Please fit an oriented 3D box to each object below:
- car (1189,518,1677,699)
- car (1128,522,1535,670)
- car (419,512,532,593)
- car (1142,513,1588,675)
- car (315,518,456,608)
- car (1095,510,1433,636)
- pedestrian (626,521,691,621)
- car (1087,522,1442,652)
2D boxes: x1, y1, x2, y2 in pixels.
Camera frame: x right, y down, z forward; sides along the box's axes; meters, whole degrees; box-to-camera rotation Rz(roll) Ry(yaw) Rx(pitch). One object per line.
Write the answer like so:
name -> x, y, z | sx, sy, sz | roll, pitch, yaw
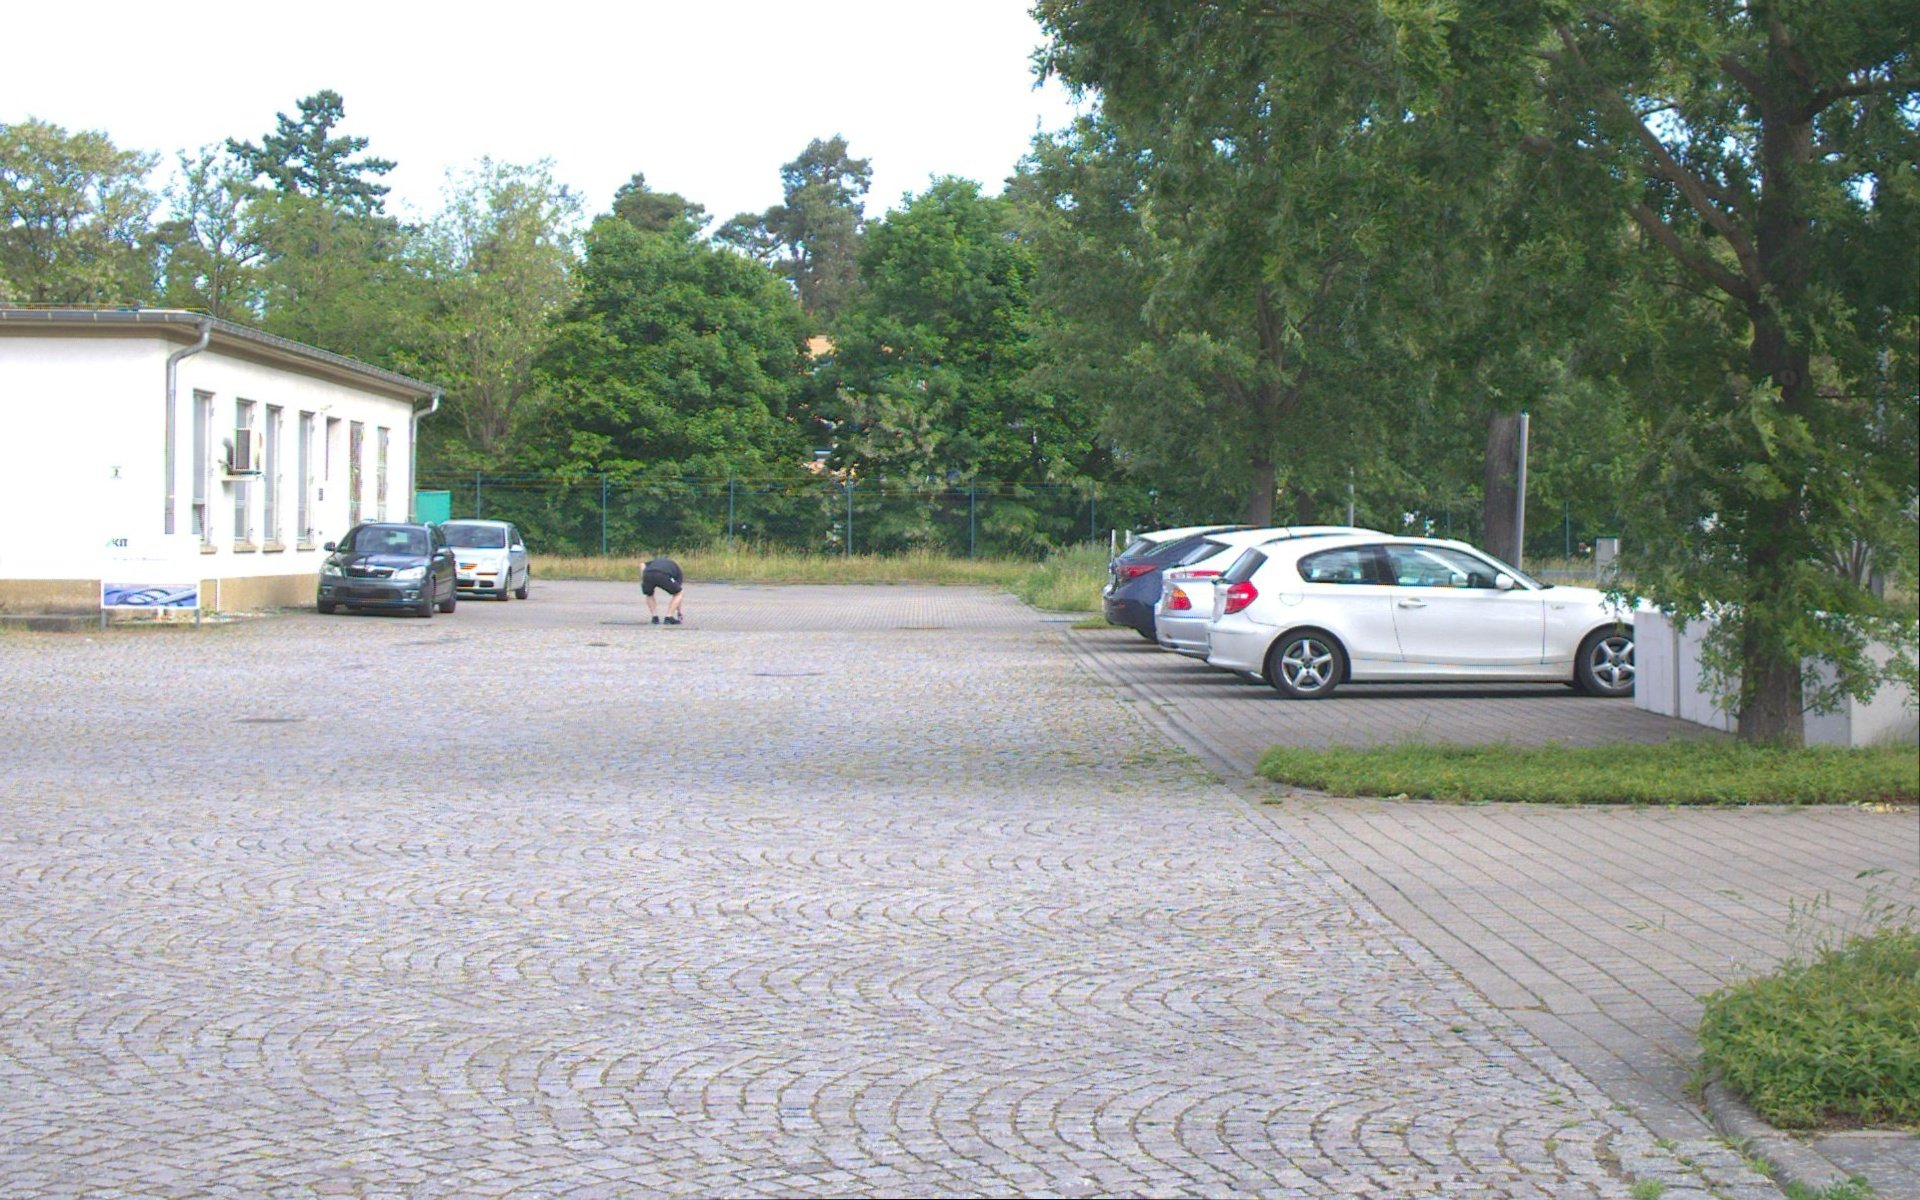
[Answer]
car -> 4.101, 0.063, 30.312 | 3.987, 1.450, 2.000 | 1, 0, 0
car -> 3.786, -0.059, 35.518 | 3.987, 1.450, 1.770 | 1, 1, 0
car -> -9.041, -0.910, 64.327 | 1.748, 1.449, 4.001 | 1, 1, -3
car -> 3.774, -0.071, 32.477 | 3.987, 1.450, 1.697 | 1, 1, 0
car -> -9.012, -0.605, 54.196 | 1.748, 1.359, 4.001 | 1, 1, -3
car -> 3.812, -0.354, 43.634 | 3.986, 1.528, 2.000 | 0, 1, -4
pedestrian -> -4.786, -0.461, 54.557 | 0.940, 1.563, 0.971 | 1, 1, -1
car -> 3.533, -0.166, 40.420 | 3.987, 1.450, 1.770 | 1, 1, 0
